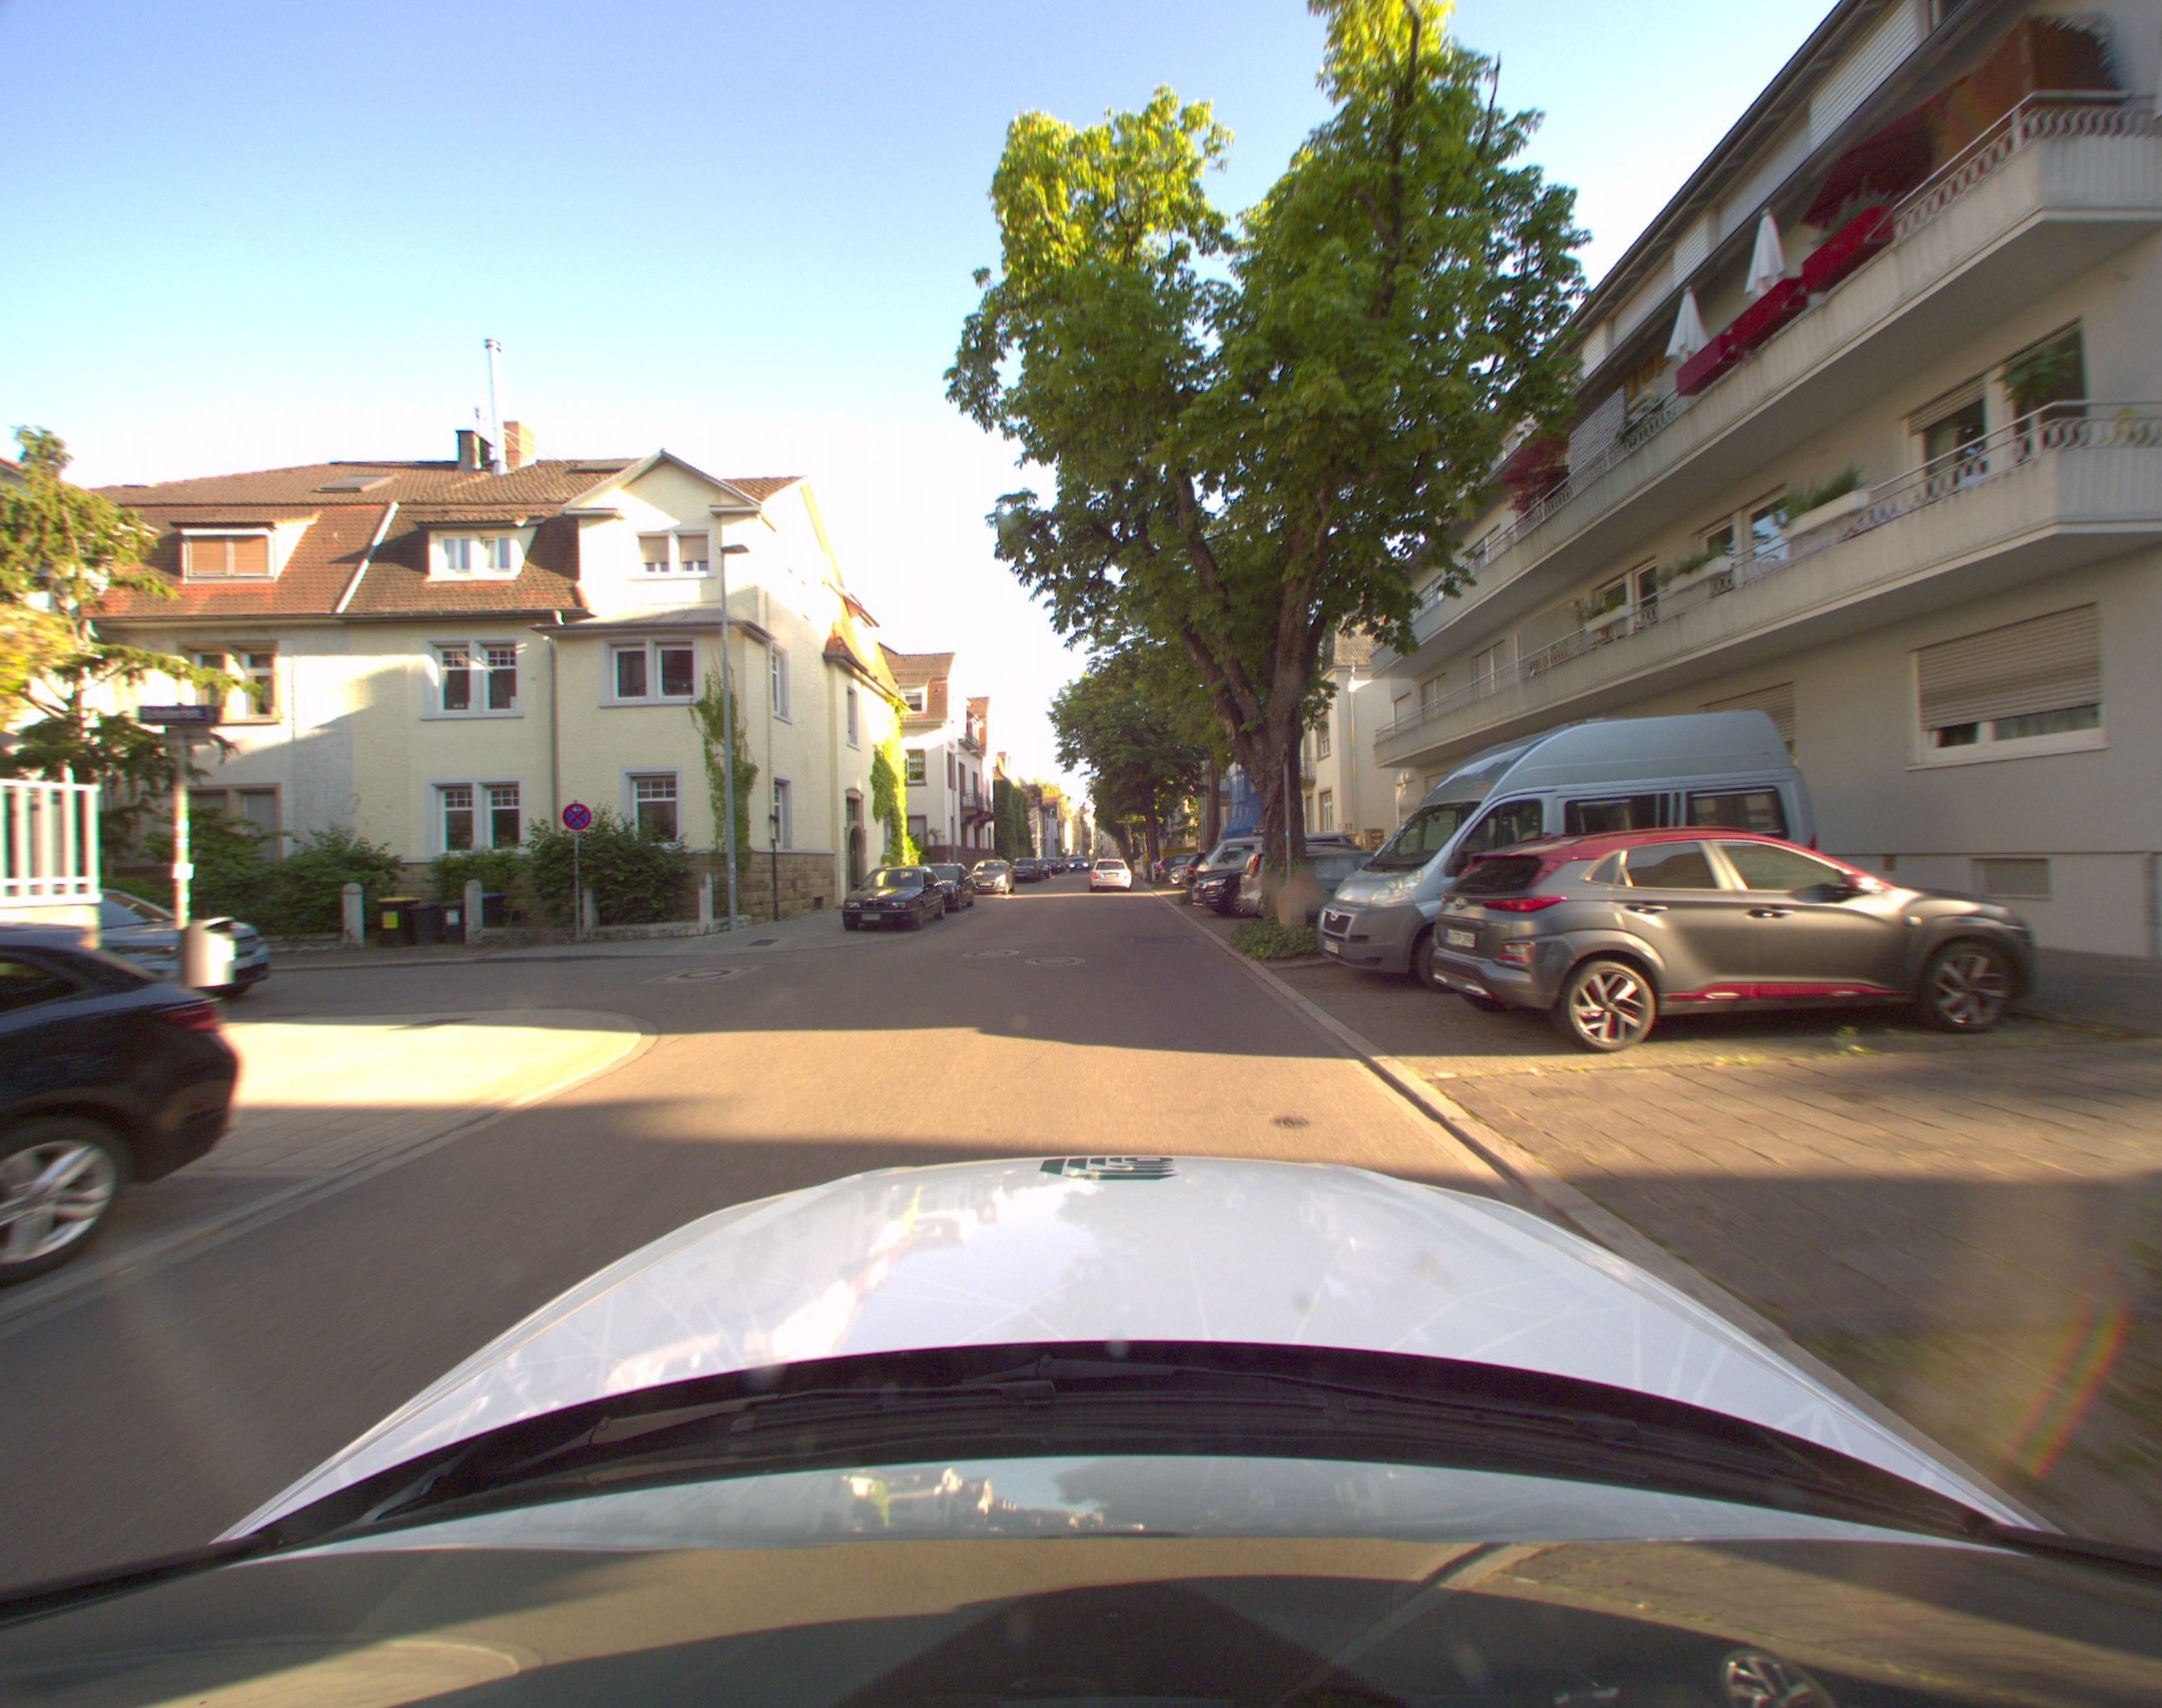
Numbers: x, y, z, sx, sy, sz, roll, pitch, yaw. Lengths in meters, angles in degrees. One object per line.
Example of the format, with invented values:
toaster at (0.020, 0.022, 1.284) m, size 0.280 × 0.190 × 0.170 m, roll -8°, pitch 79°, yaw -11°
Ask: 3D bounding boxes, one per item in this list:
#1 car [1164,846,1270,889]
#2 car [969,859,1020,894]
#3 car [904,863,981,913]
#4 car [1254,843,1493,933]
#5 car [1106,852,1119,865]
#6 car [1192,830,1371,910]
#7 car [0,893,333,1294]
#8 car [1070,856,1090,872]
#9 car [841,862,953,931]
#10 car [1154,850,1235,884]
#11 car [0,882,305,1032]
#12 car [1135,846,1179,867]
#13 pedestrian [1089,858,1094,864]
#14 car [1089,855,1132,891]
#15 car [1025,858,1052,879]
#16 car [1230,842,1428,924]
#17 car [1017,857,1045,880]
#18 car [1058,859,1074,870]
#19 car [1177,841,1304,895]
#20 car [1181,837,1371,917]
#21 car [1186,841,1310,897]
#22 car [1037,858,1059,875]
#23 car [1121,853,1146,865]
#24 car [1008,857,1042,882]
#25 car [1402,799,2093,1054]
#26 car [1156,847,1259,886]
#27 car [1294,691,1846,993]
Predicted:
car at (5.719, 0.575, 34.559) m, size 4.141 × 1.539 × 1.851 m, roll -3°, pitch 0°, yaw 1°
car at (-3.750, 0.951, 35.805) m, size 1.647 × 1.447 × 4.007 m, roll -1°, pitch 0°, yaw 2°
car at (-4.313, 1.018, 25.991) m, size 1.647 × 1.415 × 4.168 m, roll -1°, pitch 0°, yaw 1°
car at (5.237, 0.610, 14.932) m, size 3.708 × 1.431 × 1.758 m, roll -2°, pitch -2°, yaw 0°
car at (4.103, 0.554, 105.246) m, size 1.617 × 1.570 × 3.682 m, roll -2°, pitch 0°, yaw 2°
car at (5.441, 0.424, 22.539) m, size 4.456 × 2.014 × 1.895 m, roll -2°, pitch -1°, yaw -1°
car at (-4.933, 0.939, 2.101) m, size 1.647 × 1.454 × 4.632 m, roll -1°, pitch 0°, yaw 1°
car at (-0.082, 0.939, 79.169) m, size 1.765 × 1.448 × 4.001 m, roll -2°, pitch 0°, yaw 1°
car at (-4.420, 0.965, 20.280) m, size 1.704 × 1.470 × 4.633 m, roll -1°, pitch 0°, yaw 0°
car at (5.849, 0.641, 42.269) m, size 3.970 × 1.492 × 1.852 m, roll -3°, pitch 0°, yaw 3°
car at (-12.459, 1.230, 10.116) m, size 3.753 × 1.559 × 1.760 m, roll -2°, pitch 1°, yaw -3°
car at (7.706, 0.271, 82.881) m, size 4.299 × 1.807 × 2.000 m, roll -3°, pitch 0°, yaw 1°
pedestrian at (3.011, 1.906, 231.309) m, size 1.215 × 1.722 × 1.505 m, roll -1°, pitch -1°, yaw 5°
car at (1.295, 0.821, 35.502) m, size 1.777 × 1.437 × 3.853 m, roll -1°, pitch -1°, yaw 2°
car at (-3.121, 1.054, 59.998) m, size 1.787 × 1.461 × 4.775 m, roll 0°, pitch 0°, yaw -1°
car at (5.225, 0.603, 17.493) m, size 3.708 × 1.554 × 1.639 m, roll -2°, pitch -1°, yaw 0°
car at (-3.313, 0.937, 54.209) m, size 1.648 × 1.447 × 3.843 m, roll 0°, pitch 0°, yaw -1°
car at (-1.828, 1.335, 101.641) m, size 1.646 × 1.324 × 4.049 m, roll -1°, pitch -1°, yaw 4°
car at (5.805, 0.491, 29.964) m, size 4.316 × 1.683 × 1.706 m, roll -3°, pitch 0°, yaw 1°
car at (4.740, 0.551, 20.094) m, size 4.170 × 1.723 × 1.762 m, roll -2°, pitch -1°, yaw -6°
car at (5.645, 0.493, 27.947) m, size 3.931 × 1.683 × 1.708 m, roll -3°, pitch 0°, yaw 4°
car at (-2.856, 1.050, 71.341) m, size 1.643 × 1.421 × 4.100 m, roll -1°, pitch 0°, yaw 2°
car at (9.300, 0.861, 144.110) m, size 4.207 × 1.896 × 1.905 m, roll -3°, pitch -1°, yaw -1°
car at (-3.404, 0.914, 49.862) m, size 1.647 × 1.486 × 3.766 m, roll -1°, pitch 0°, yaw 2°
car at (5.098, 0.514, 6.678) m, size 4.175 × 1.568 × 1.758 m, roll -3°, pitch 0°, yaw 0°
car at (6.113, 0.599, 39.713) m, size 4.701 × 1.535 × 1.851 m, roll -3°, pitch 0°, yaw 1°
car at (5.329, -0.126, 9.464) m, size 5.078 × 2.902 × 2.076 m, roll -3°, pitch 0°, yaw 0°
